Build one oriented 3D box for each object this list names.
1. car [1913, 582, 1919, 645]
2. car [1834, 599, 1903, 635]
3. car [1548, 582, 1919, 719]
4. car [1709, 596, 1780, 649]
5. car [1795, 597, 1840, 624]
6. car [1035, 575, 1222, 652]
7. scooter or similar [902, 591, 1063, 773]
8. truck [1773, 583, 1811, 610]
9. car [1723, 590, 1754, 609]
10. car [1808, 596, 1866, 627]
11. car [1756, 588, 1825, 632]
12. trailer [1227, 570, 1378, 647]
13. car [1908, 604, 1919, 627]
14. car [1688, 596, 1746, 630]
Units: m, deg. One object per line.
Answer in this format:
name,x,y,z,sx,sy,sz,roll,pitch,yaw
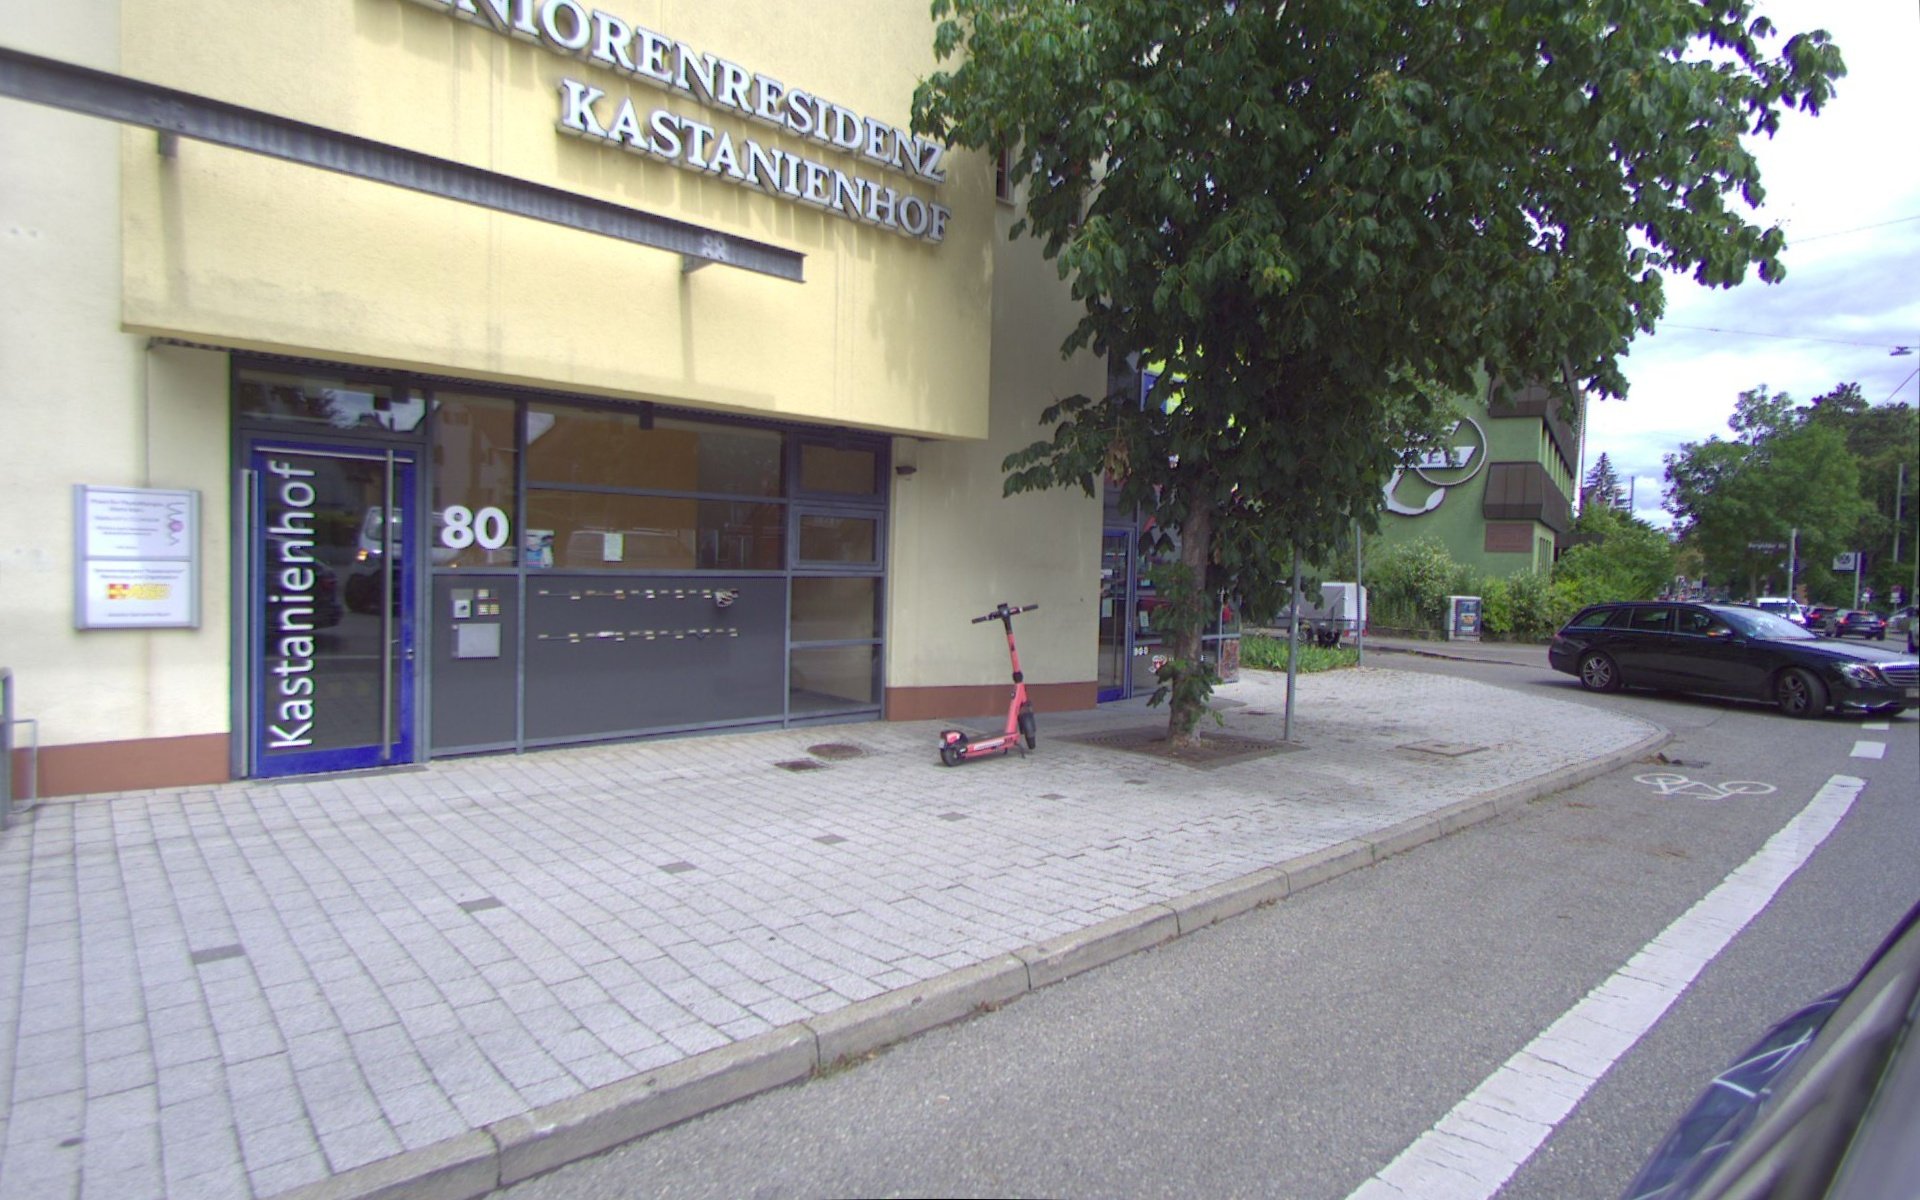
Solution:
car,33.900,0.493,33.736,2.057,2.381,5.120,6,3,33
car,43.342,0.768,48.354,1.765,1.442,4.060,5,3,33
car,11.324,0.576,14.794,1.772,1.648,4.697,-1,1,-19
car,27.700,0.753,35.835,1.685,1.687,4.405,3,1,35
car,56.856,0.668,67.149,1.683,1.598,3.756,3,3,32
car,3.553,0.217,21.662,3.591,1.463,1.706,2,2,41
scooter or similar,0.210,0.603,8.170,1.434,1.332,0.381,-1,2,-43
truck,82.001,-0.409,99.851,2.298,2.449,6.019,2,2,34
car,73.308,-0.057,95.328,1.859,1.637,4.481,4,2,33
car,49.412,0.605,57.084,1.769,1.541,4.411,3,3,32
car,38.280,0.417,46.744,1.953,1.829,4.377,1,2,33
trailer,8.337,0.171,24.792,1.369,1.601,3.165,1,3,-42
car,65.480,1.109,66.921,3.724,1.537,1.709,3,2,32
car,38.186,0.616,51.141,1.977,1.465,4.695,3,3,33
